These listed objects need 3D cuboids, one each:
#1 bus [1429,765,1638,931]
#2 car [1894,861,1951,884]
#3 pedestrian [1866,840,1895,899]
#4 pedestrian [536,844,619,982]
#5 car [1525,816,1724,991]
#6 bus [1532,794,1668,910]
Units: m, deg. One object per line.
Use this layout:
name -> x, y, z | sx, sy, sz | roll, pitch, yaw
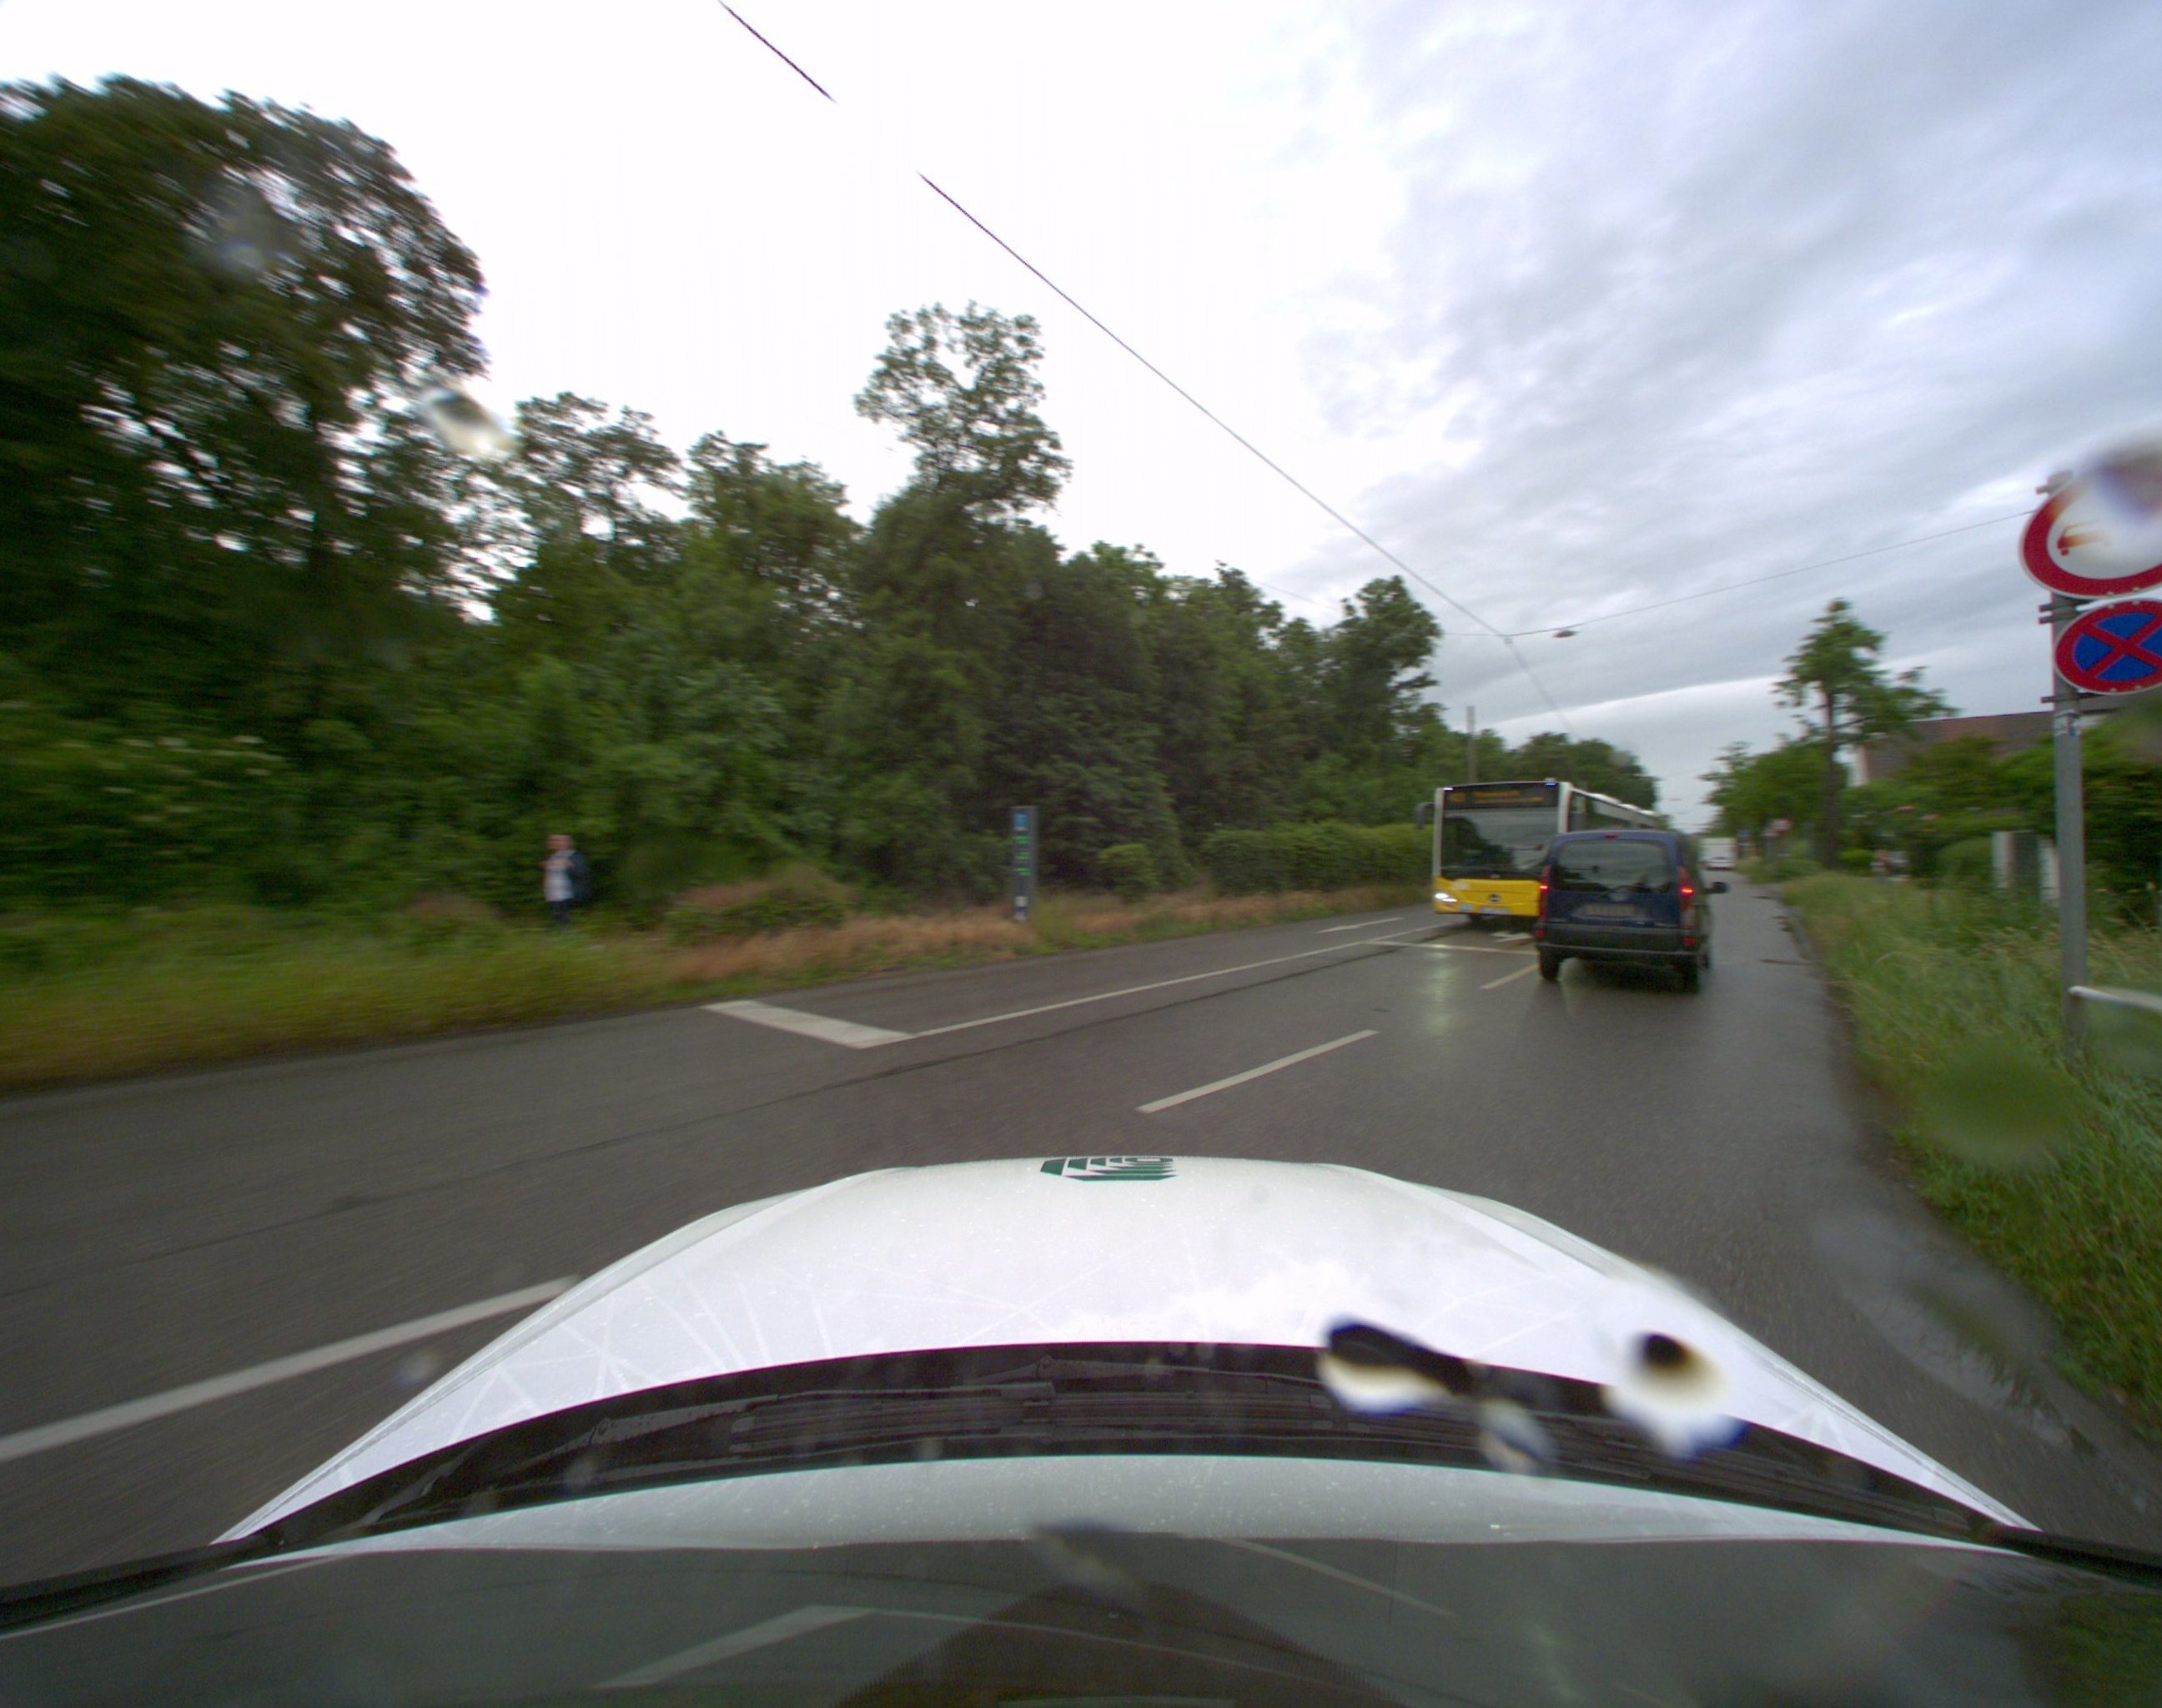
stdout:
bus -> 11.116, -0.086, 19.360 | 2.618, 3.044, 9.287 | 0, 0, 40
car -> 45.821, 0.985, 44.408 | 1.814, 1.176, 4.024 | 1, 0, 41
pedestrian -> 21.013, 0.401, 21.405 | 0.477, 1.534, 0.442 | 1, 0, 37
pedestrian -> -6.902, 0.782, 11.173 | 0.769, 1.800, 0.768 | -1, -2, 43
car -> 7.116, 0.534, 10.491 | 1.791, 1.797, 4.025 | -1, -1, 38
bus -> 16.933, -0.035, 26.251 | 2.570, 3.158, 8.689 | 0, 0, 40
